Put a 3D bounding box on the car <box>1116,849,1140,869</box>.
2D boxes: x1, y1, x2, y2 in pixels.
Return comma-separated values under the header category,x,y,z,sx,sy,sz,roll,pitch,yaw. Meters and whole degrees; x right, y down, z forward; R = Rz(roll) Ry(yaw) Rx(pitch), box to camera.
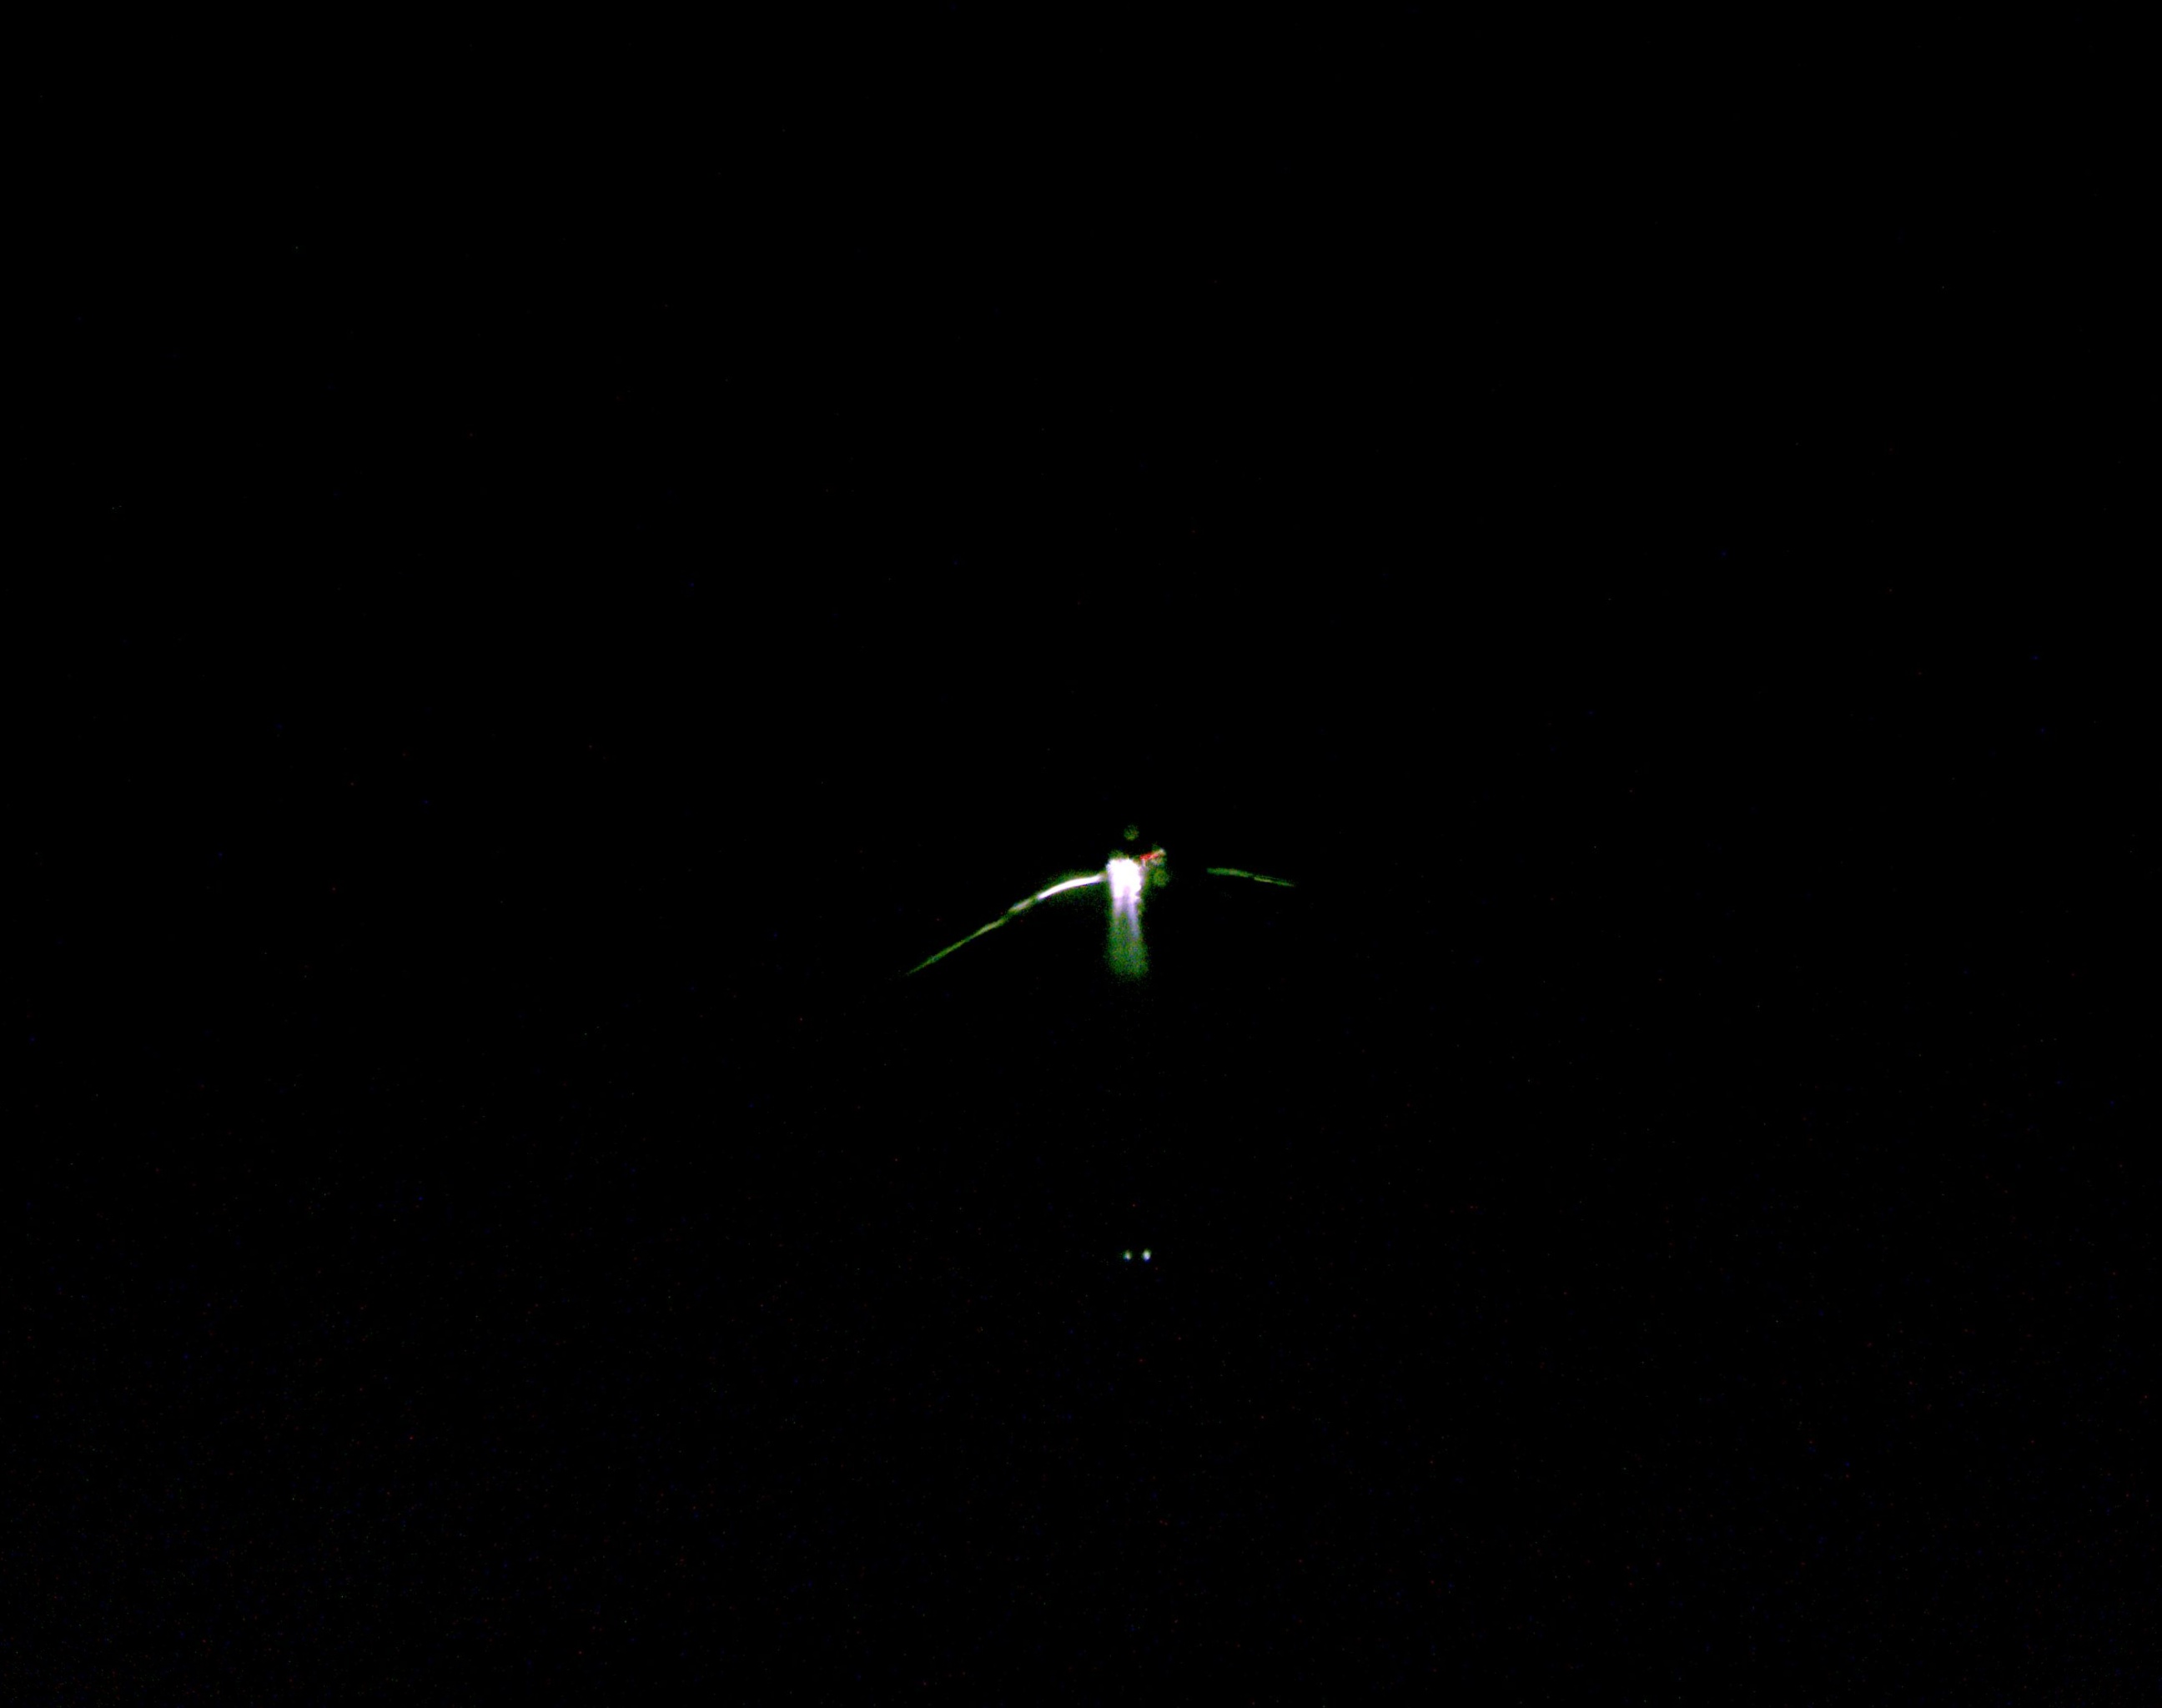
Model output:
category,x,y,z,sx,sy,sz,roll,pitch,yaw
car,3.772,0.395,61.251,1.776,1.444,4.136,-2,1,3
